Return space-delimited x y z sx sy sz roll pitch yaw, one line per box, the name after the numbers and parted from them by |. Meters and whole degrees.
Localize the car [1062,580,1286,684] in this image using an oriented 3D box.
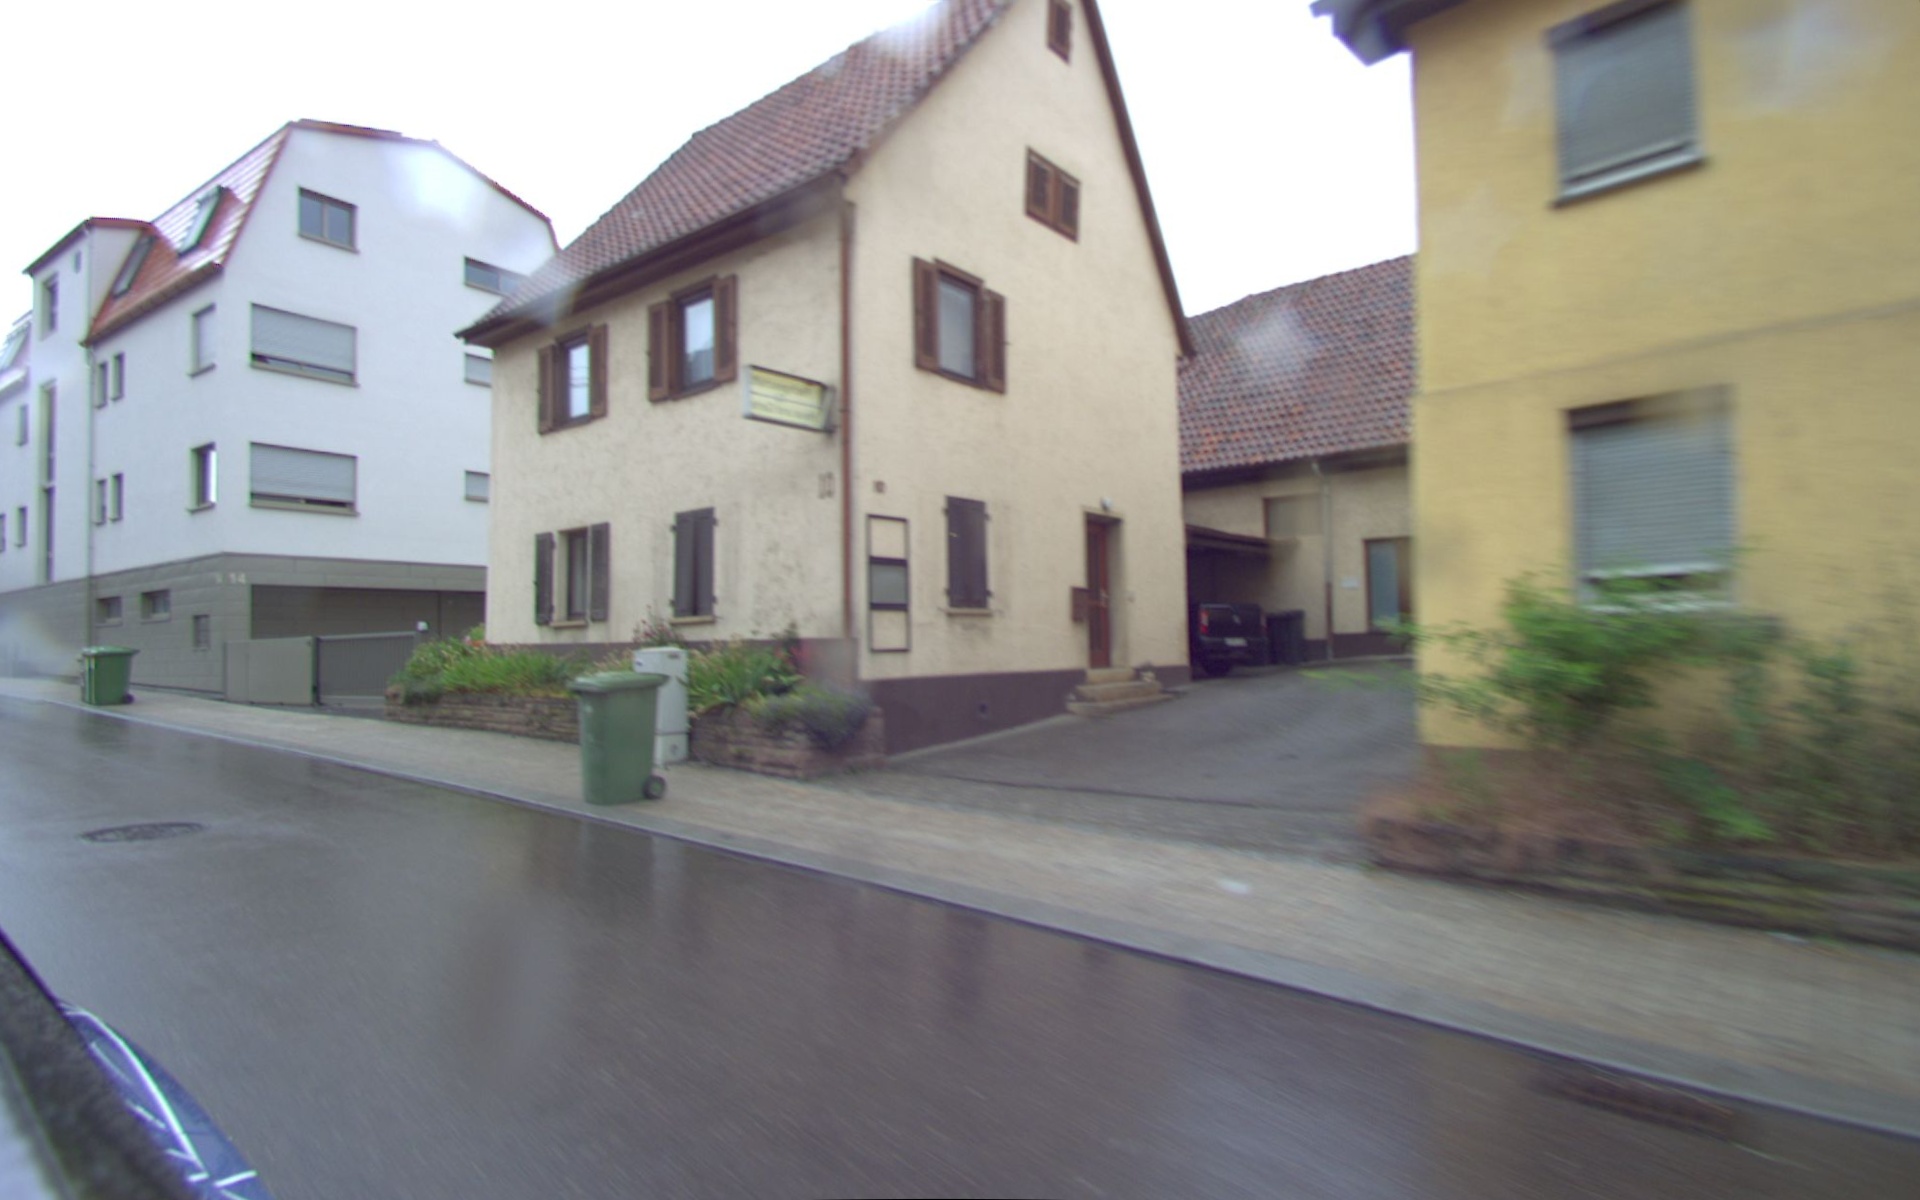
3.902 0.567 19.105 1.842 1.699 4.012 -2 0 -31 | car

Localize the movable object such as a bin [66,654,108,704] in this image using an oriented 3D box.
-17.215 1.551 19.949 0.578 0.929 0.502 -1 -1 34 | movable object such as a bin

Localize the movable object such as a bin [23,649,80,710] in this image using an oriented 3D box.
-16.949 1.464 18.887 0.693 1.074 0.675 -1 -1 37 | movable object such as a bin

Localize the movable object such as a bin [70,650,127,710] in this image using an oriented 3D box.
-16.023 1.473 18.822 0.660 1.053 0.675 -1 -1 37 | movable object such as a bin

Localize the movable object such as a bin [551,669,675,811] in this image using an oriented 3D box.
-2.908 1.136 8.479 0.762 1.064 0.653 -2 0 38 | movable object such as a bin

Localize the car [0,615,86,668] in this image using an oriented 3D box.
-32.623 1.439 34.451 1.870 1.682 3.960 -1 1 29 | car

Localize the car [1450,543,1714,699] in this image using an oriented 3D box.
8.380 0.228 13.503 3.939 1.645 1.792 -5 -1 -41 | car
